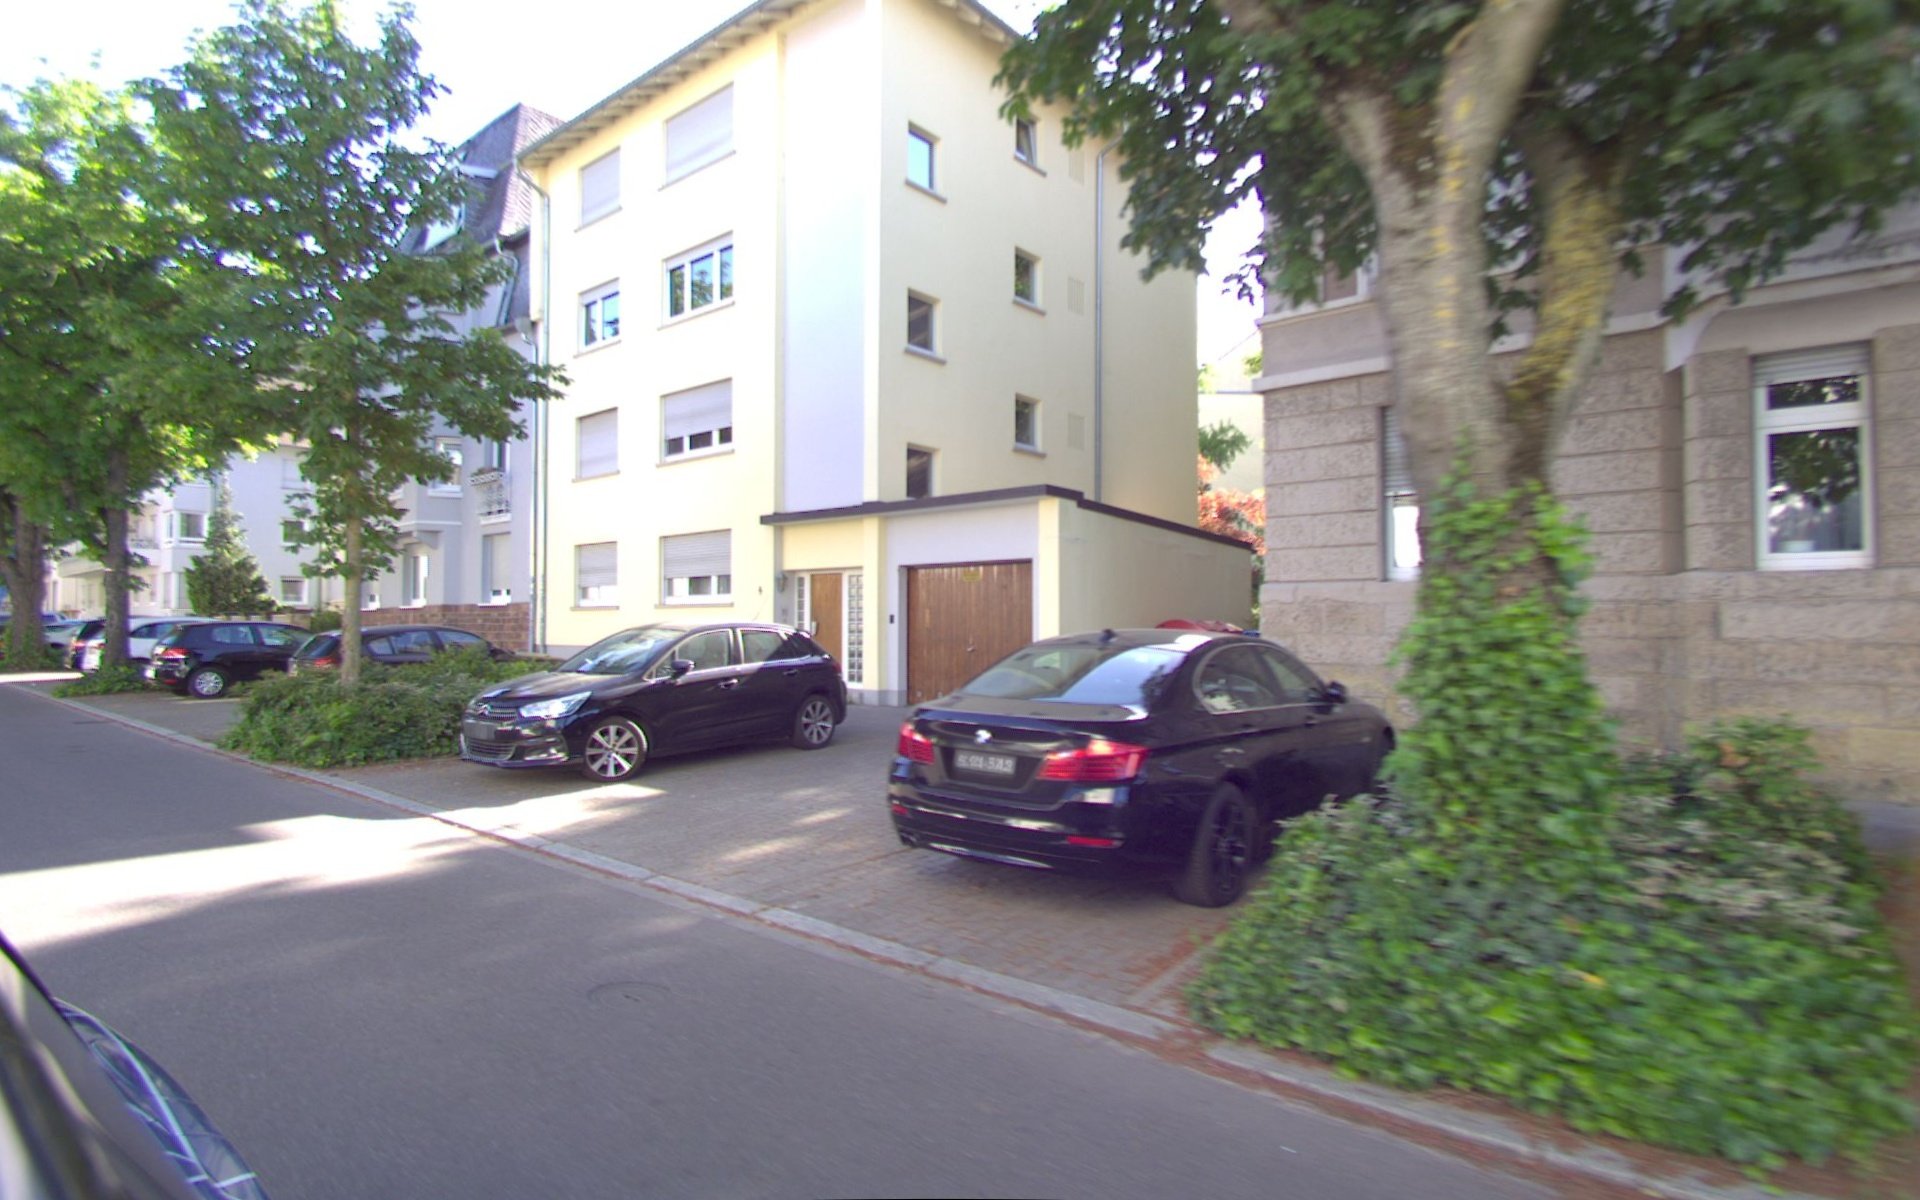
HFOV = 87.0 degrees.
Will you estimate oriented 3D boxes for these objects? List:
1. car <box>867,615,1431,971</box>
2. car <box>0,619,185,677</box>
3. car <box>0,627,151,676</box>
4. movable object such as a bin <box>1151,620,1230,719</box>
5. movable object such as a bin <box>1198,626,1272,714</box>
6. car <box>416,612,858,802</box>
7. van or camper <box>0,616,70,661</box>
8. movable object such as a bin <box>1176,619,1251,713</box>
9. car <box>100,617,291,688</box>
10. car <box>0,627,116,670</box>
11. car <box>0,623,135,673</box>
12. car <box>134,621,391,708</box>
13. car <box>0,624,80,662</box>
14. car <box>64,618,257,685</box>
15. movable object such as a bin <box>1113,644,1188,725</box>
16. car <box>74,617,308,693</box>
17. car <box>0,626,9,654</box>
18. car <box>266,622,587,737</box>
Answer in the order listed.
[{"bbox_3d":[1.579,0.876,6.741,1.866,1.490,4.430,0,0,38],"label":"car"},{"bbox_3d":[-26.660,1.431,30.995,1.822,1.665,4.340,-2,-2,41],"label":"car"},{"bbox_3d":[-28.596,1.610,32.403,1.695,1.479,3.947,-1,-2,40],"label":"car"},{"bbox_3d":[3.460,1.018,15.202,0.948,1.408,0.666,0,1,41],"label":"movable object such as a bin"},{"bbox_3d":[4.434,1.099,16.329,0.948,1.338,0.666,0,1,41],"label":"movable object such as a bin"},{"bbox_3d":[-3.237,0.936,10.847,1.997,1.511,4.133,0,1,38],"label":"car"},{"bbox_3d":[-42.137,1.670,44.342,1.963,1.929,4.451,-1,-2,40],"label":"van or camper"},{"bbox_3d":[3.953,1.008,15.794,0.948,1.391,0.666,0,1,41],"label":"movable object such as a bin"},{"bbox_3d":[-19.115,1.251,25.424,1.767,1.587,3.485,-1,-1,35],"label":"car"},{"bbox_3d":[-33.151,1.714,36.280,1.859,1.510,4.145,-1,-2,39],"label":"car"},{"bbox_3d":[-30.770,1.607,34.348,1.876,1.604,3.948,-1,-2,38],"label":"car"},{"bbox_3d":[-14.023,1.215,20.504,1.800,1.455,3.979,0,1,42],"label":"car"},{"bbox_3d":[-39.920,1.820,42.825,1.662,1.510,3.903,-1,-1,42],"label":"car"},{"bbox_3d":[-21.283,1.319,27.027,1.848,1.587,3.821,-2,-1,43],"label":"car"},{"bbox_3d":[2.738,1.196,14.552,0.832,1.065,0.666,0,1,41],"label":"movable object such as a bin"},{"bbox_3d":[-17.572,1.197,23.273,1.805,1.496,3.982,-2,0,40],"label":"car"},{"bbox_3d":[-57.393,2.272,57.599,1.830,1.619,4.546,-1,-2,37],"label":"car"},{"bbox_3d":[-7.946,1.106,15.359,1.769,1.432,3.947,-3,-2,39],"label":"car"}]
